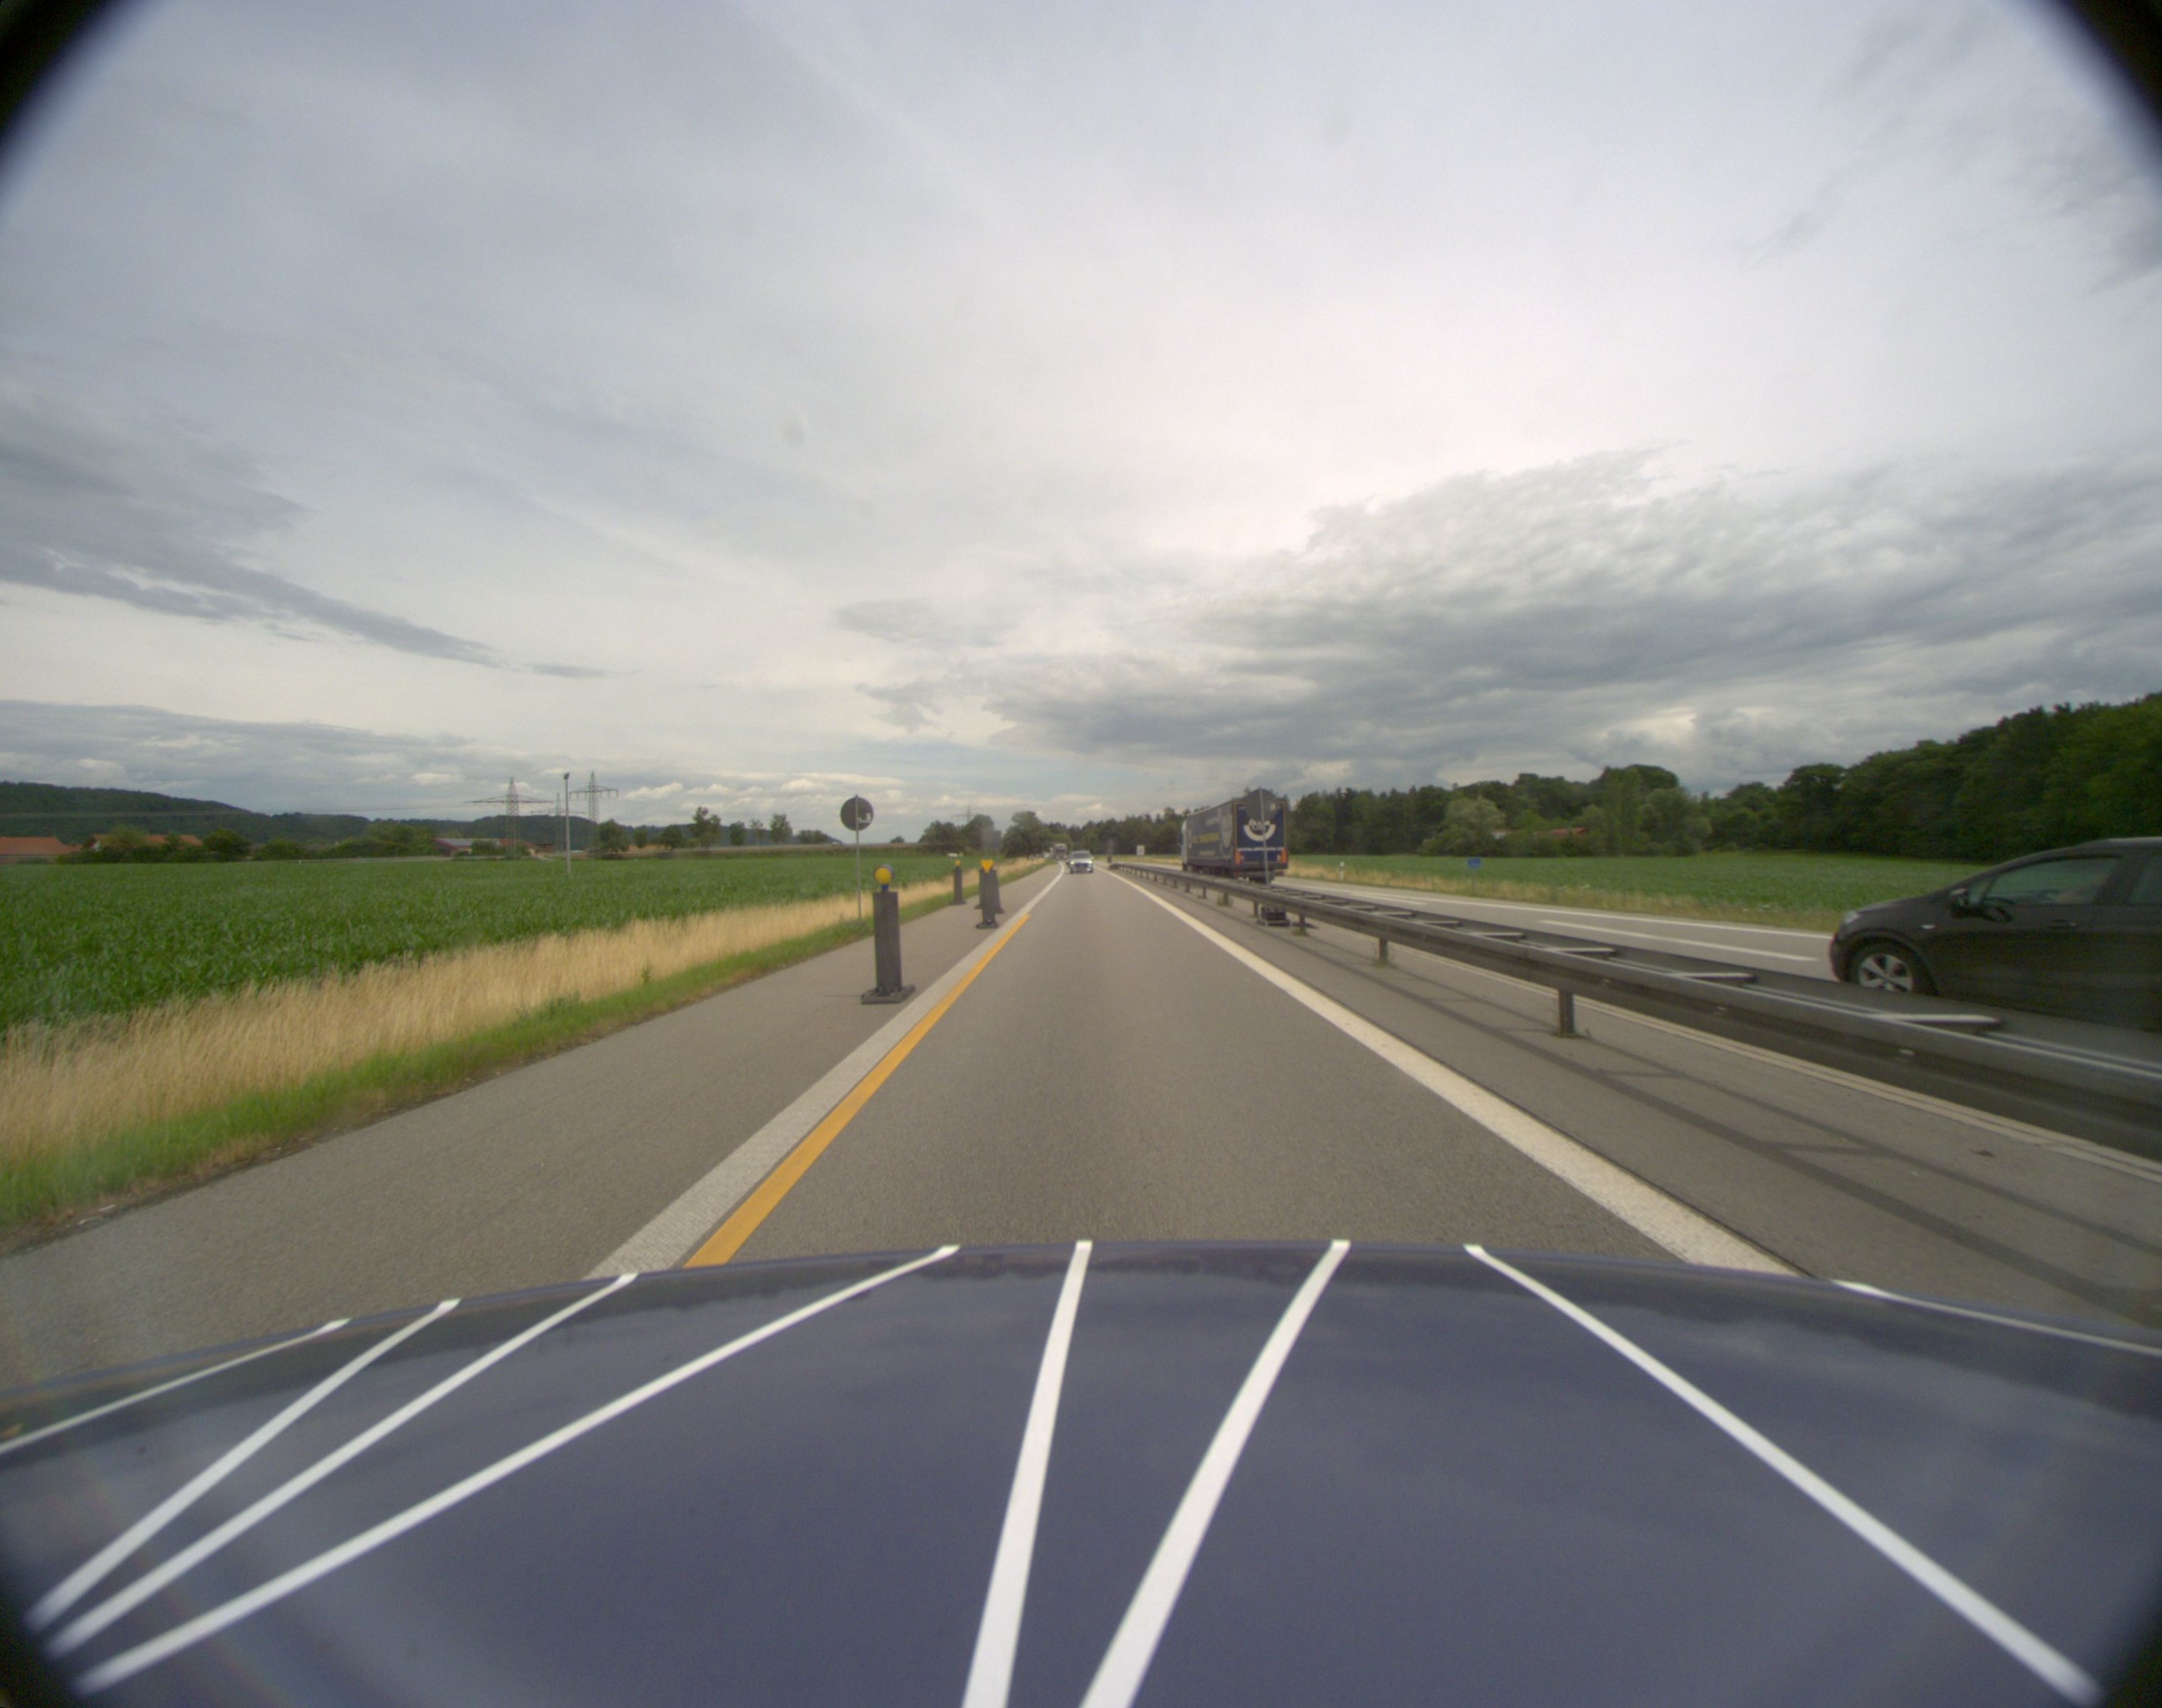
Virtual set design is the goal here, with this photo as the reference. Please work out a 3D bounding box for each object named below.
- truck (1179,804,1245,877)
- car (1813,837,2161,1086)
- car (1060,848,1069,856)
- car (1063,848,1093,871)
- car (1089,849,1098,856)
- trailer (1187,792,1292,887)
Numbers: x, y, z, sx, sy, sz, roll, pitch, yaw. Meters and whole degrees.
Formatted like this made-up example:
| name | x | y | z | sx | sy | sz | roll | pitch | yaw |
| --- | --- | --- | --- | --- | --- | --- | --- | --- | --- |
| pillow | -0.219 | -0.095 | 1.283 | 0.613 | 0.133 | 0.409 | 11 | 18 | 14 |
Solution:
| name | x | y | z | sx | sy | sz | roll | pitch | yaw |
| --- | --- | --- | --- | --- | --- | --- | --- | --- | --- |
| truck | 8.076 | -0.840 | 47.750 | 2.806 | 4.118 | 7.227 | -3 | 1 | 0 |
| car | 8.580 | 0.748 | 5.745 | 1.998 | 1.674 | 4.233 | -3 | 1 | 0 |
| car | -4.132 | -0.544 | 190.626 | 1.998 | 2.002 | 4.000 | -3 | 1 | 1 |
| car | -0.302 | 0.444 | 64.323 | 1.924 | 1.823 | 3.997 | -3 | 1 | -8 |
| car | 3.099 | -0.457 | 188.384 | 1.822 | 1.623 | 4.600 | -3 | 1 | -2 |
| trailer | 8.088 | -0.762 | 41.090 | 2.806 | 4.149 | 13.561 | -3 | 1 | 1 |
